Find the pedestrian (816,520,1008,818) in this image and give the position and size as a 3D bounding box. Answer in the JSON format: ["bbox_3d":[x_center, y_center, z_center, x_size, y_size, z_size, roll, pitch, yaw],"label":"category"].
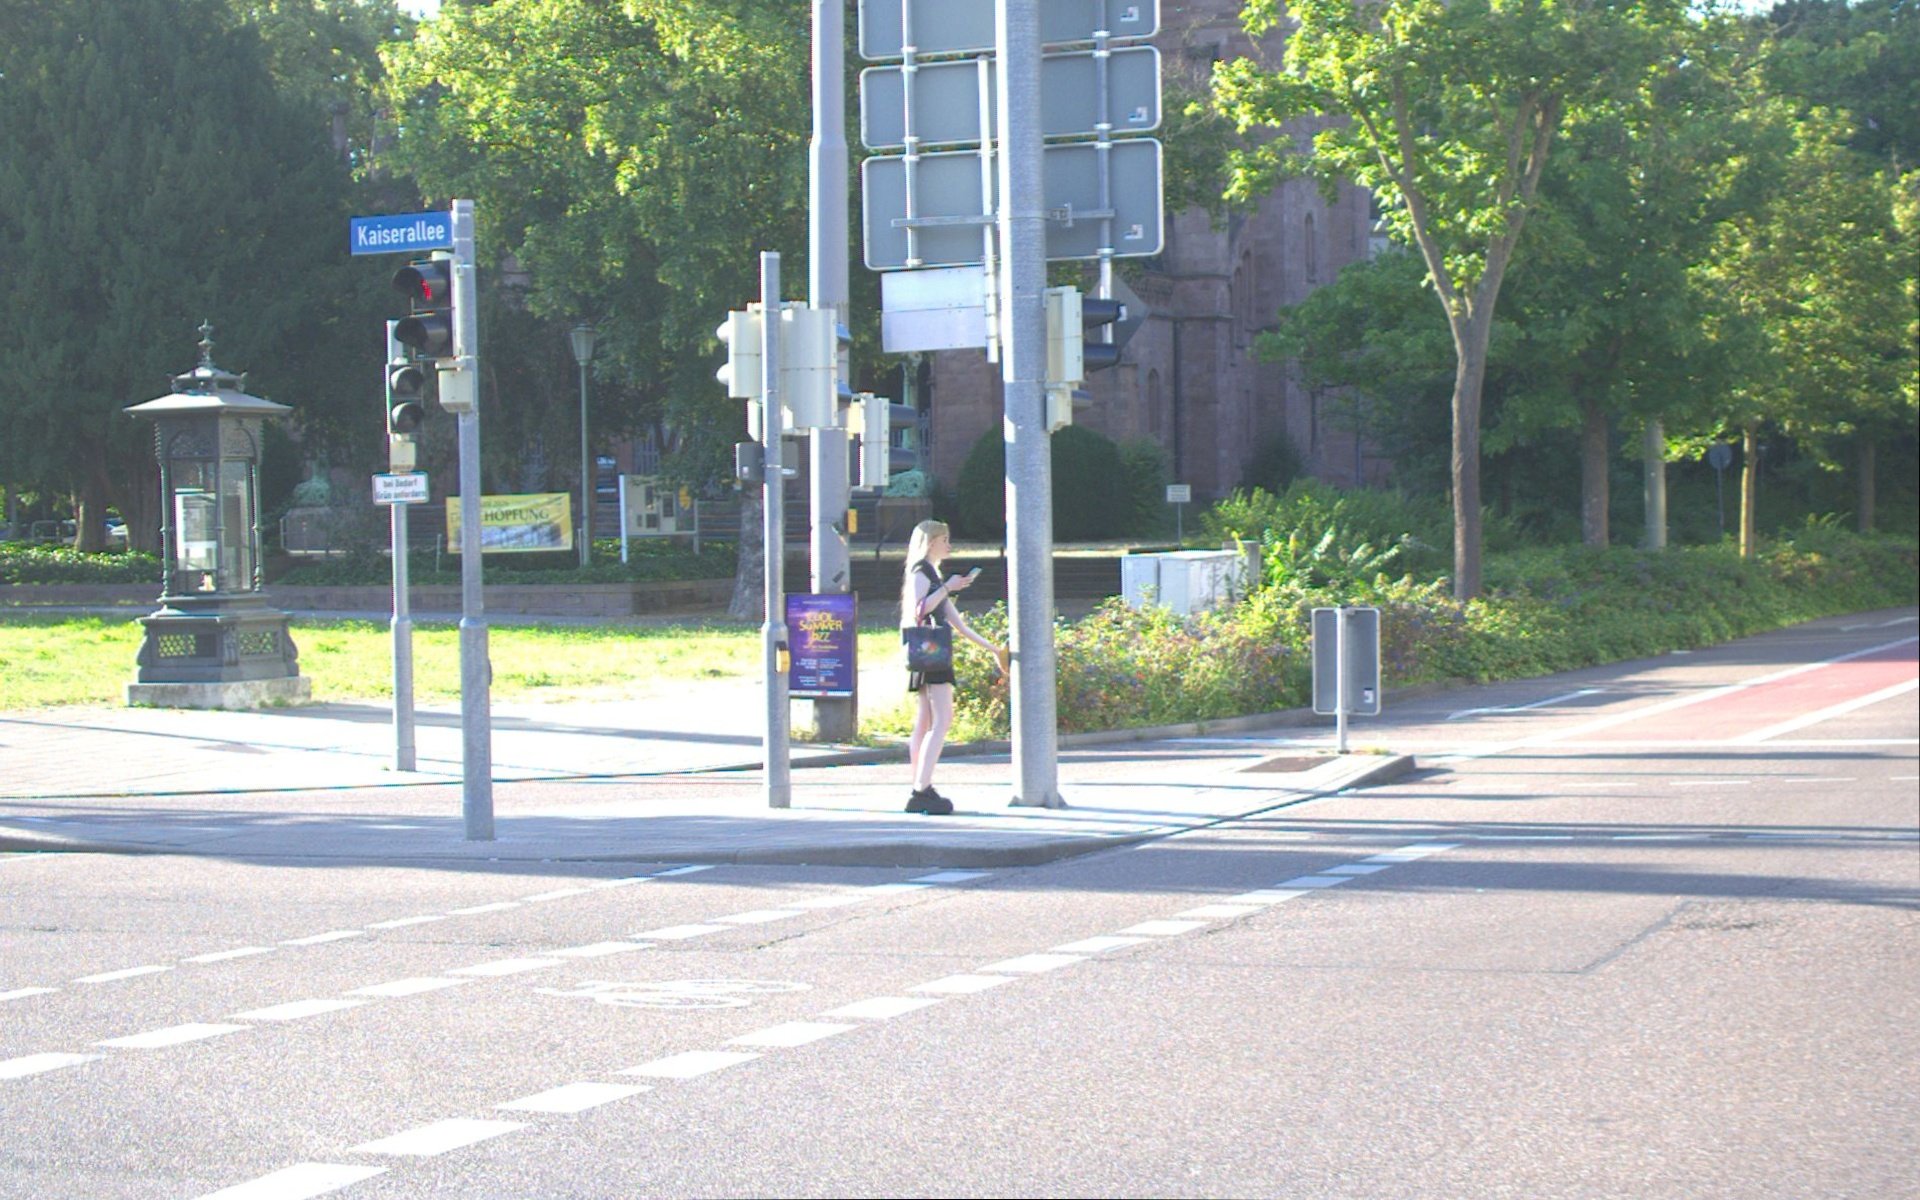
[{"bbox_3d":[-0.279,0.392,20.662,0.810,1.733,0.967,0,1,24],"label":"pedestrian"}]
